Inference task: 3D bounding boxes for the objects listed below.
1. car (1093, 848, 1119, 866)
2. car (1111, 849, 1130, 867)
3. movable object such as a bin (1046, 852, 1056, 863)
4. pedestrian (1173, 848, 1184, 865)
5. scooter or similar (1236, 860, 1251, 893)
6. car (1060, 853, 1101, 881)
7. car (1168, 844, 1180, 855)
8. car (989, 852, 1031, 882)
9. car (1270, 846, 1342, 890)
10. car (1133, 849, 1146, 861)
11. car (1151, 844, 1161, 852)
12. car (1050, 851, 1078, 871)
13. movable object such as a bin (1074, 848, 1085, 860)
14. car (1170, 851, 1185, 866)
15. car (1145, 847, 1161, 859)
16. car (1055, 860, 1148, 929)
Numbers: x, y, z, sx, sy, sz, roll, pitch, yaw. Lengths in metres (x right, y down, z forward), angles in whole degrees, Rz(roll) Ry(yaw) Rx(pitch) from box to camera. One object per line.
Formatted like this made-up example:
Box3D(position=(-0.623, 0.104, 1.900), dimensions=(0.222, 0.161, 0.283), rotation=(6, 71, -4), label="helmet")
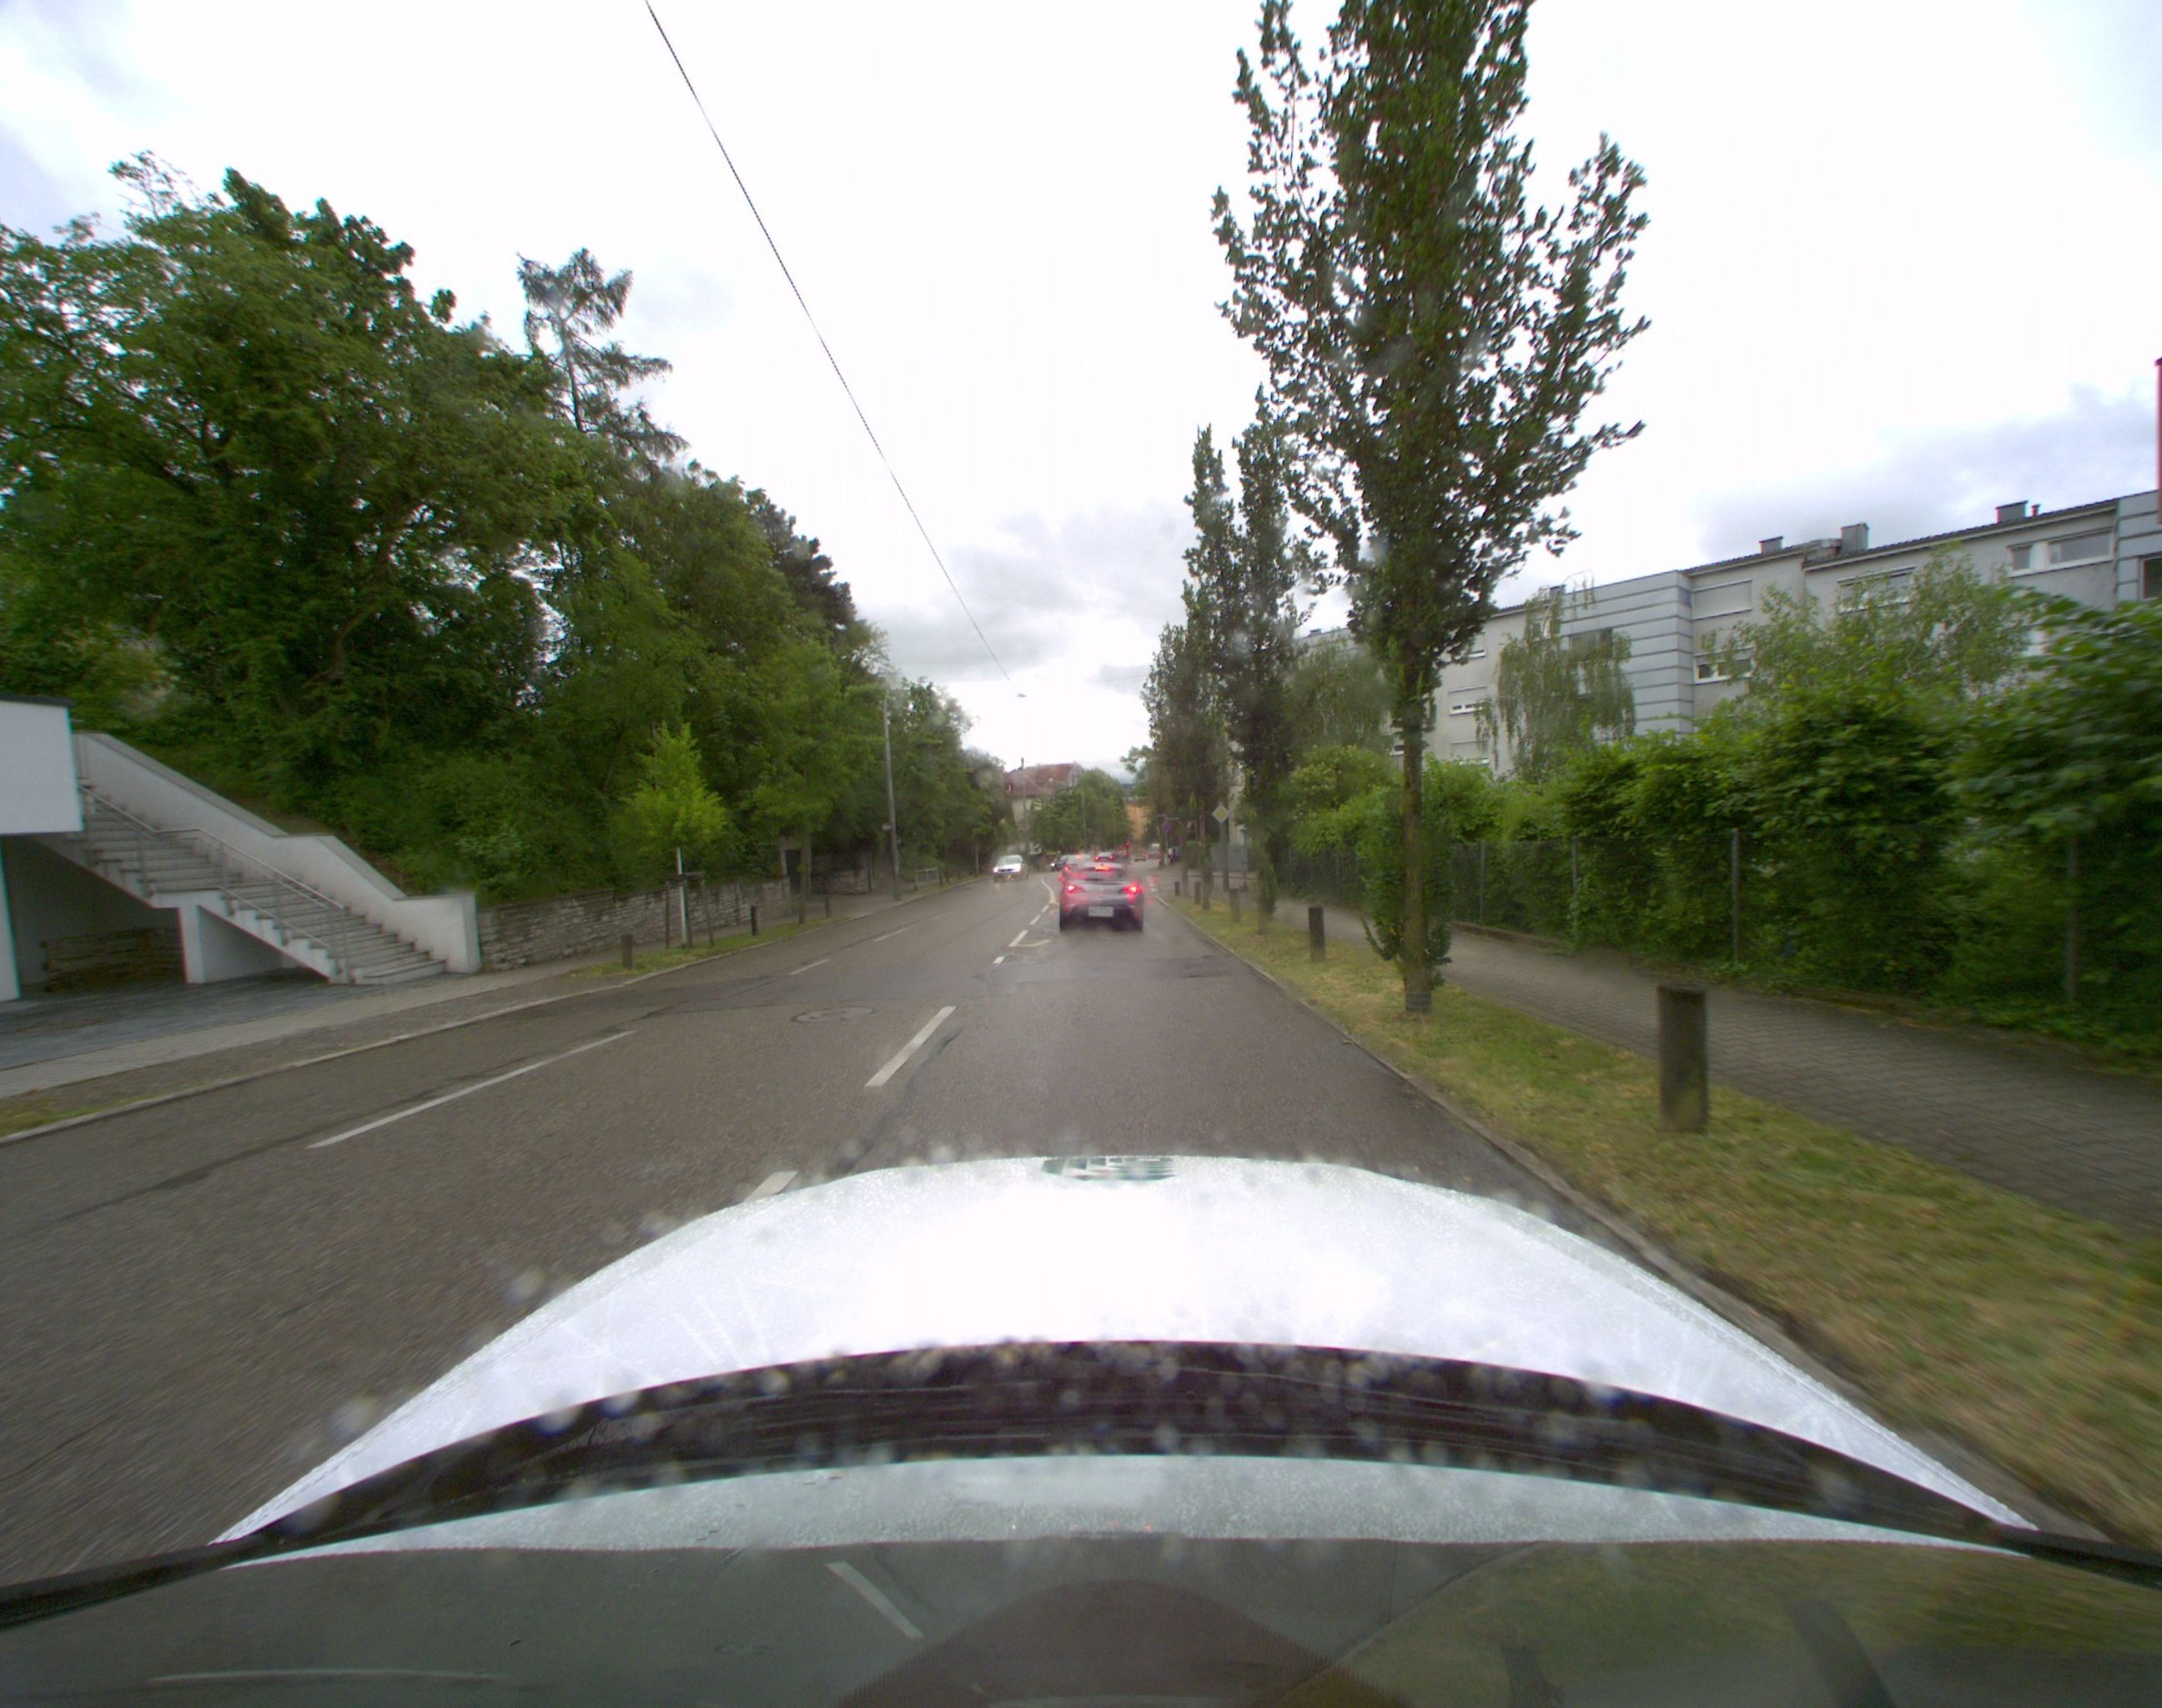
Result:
Box3D(position=(2.214, 0.214, 71.612), dimensions=(1.950, 1.472, 3.959), rotation=(0, 1, 7), label="car")
Box3D(position=(4.235, 0.409, 86.549), dimensions=(1.759, 1.781, 3.984), rotation=(0, 1, 7), label="car")
Box3D(position=(-3.825, 0.465, 103.557), dimensions=(1.265, 1.387, 0.490), rotation=(-1, 0, 6), label="movable object such as a bin")
Box3D(position=(10.322, 0.225, 86.434), dimensions=(0.736, 1.723, 0.761), rotation=(-5, 0, -17), label="pedestrian")
Box3D(position=(6.428, 0.886, 32.319), dimensions=(0.341, 1.254, 1.267), rotation=(0, -1, 0), label="scooter or similar")
Box3D(position=(0.033, 0.618, 41.371), dimensions=(1.790, 1.323, 4.004), rotation=(-1, 0, 3), label="car")
Box3D(position=(16.893, -0.816, 147.547), dimensions=(1.982, 2.036, 4.747), rotation=(0, 1, 9), label="car")
Box3D(position=(-4.078, 0.720, 47.211), dimensions=(1.757, 1.486, 3.805), rotation=(-4, 1, 3), label="car")
Box3D(position=(8.113, 0.462, 29.735), dimensions=(1.499, 1.435, 4.000), rotation=(1, 1, 0), label="car")
Box3D(position=(8.296, 0.182, 115.269), dimensions=(1.745, 1.651, 4.008), rotation=(0, 0, 7), label="car")
Box3D(position=(17.903, -1.390, 194.049), dimensions=(1.982, 1.784, 4.011), rotation=(0, 1, 9), label="car")
Box3D(position=(-1.452, 0.591, 72.806), dimensions=(1.903, 1.585, 4.592), rotation=(-6, 0, 4), label="car")
Box3D(position=(-0.219, 0.006, 97.438), dimensions=(1.265, 1.387, 0.490), rotation=(-1, 0, 6), label="movable object such as a bin")
Box3D(position=(10.546, 0.491, 89.157), dimensions=(1.495, 1.435, 4.008), rotation=(-3, -1, 7), label="car")
Box3D(position=(12.484, -0.241, 140.849), dimensions=(2.320, 2.036, 4.747), rotation=(0, 1, 9), label="car")
Box3D(position=(0.486, 0.856, 18.913), dimensions=(1.938, 1.432, 3.885), rotation=(0, 0, 1), label="car")
